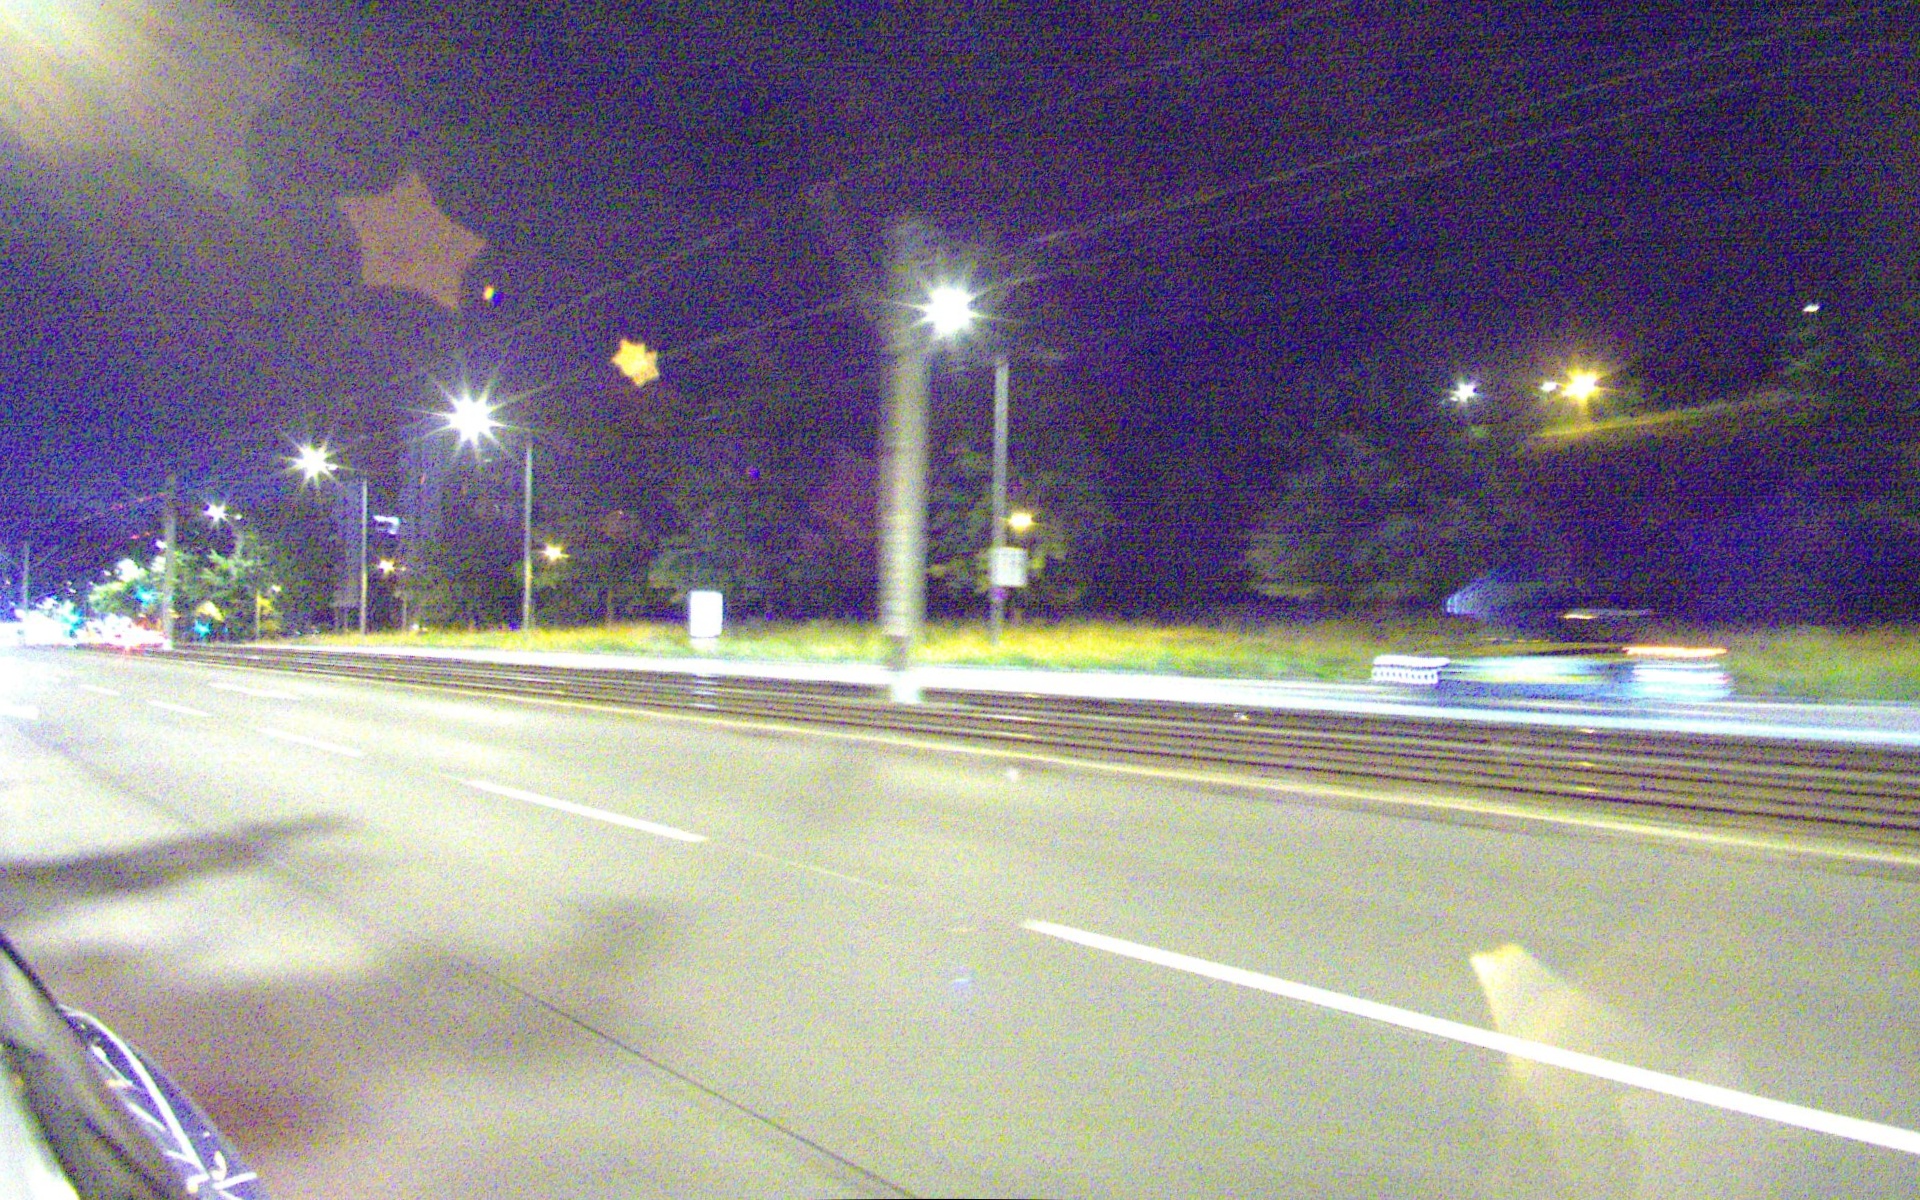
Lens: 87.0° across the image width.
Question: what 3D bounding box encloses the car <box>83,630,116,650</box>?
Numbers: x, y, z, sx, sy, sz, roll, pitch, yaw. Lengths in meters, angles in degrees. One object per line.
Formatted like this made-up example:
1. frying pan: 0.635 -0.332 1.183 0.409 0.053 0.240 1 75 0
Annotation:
1. car: -83.603 3.841 98.281 3.997 1.751 1.772 0 1 40

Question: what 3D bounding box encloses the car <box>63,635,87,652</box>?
1. car: -101.922 4.999 116.526 1.770 1.803 4.002 -1 1 -45

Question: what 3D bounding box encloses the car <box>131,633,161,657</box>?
1. car: -76.490 4.228 95.113 2.030 2.029 4.006 -1 1 -41

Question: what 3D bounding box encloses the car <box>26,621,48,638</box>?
1. car: -111.737 3.496 122.502 1.770 1.921 4.002 -1 1 -45

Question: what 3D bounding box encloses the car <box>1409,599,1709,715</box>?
1. car: 9.652 0.824 16.469 3.960 1.637 1.708 0 1 41
